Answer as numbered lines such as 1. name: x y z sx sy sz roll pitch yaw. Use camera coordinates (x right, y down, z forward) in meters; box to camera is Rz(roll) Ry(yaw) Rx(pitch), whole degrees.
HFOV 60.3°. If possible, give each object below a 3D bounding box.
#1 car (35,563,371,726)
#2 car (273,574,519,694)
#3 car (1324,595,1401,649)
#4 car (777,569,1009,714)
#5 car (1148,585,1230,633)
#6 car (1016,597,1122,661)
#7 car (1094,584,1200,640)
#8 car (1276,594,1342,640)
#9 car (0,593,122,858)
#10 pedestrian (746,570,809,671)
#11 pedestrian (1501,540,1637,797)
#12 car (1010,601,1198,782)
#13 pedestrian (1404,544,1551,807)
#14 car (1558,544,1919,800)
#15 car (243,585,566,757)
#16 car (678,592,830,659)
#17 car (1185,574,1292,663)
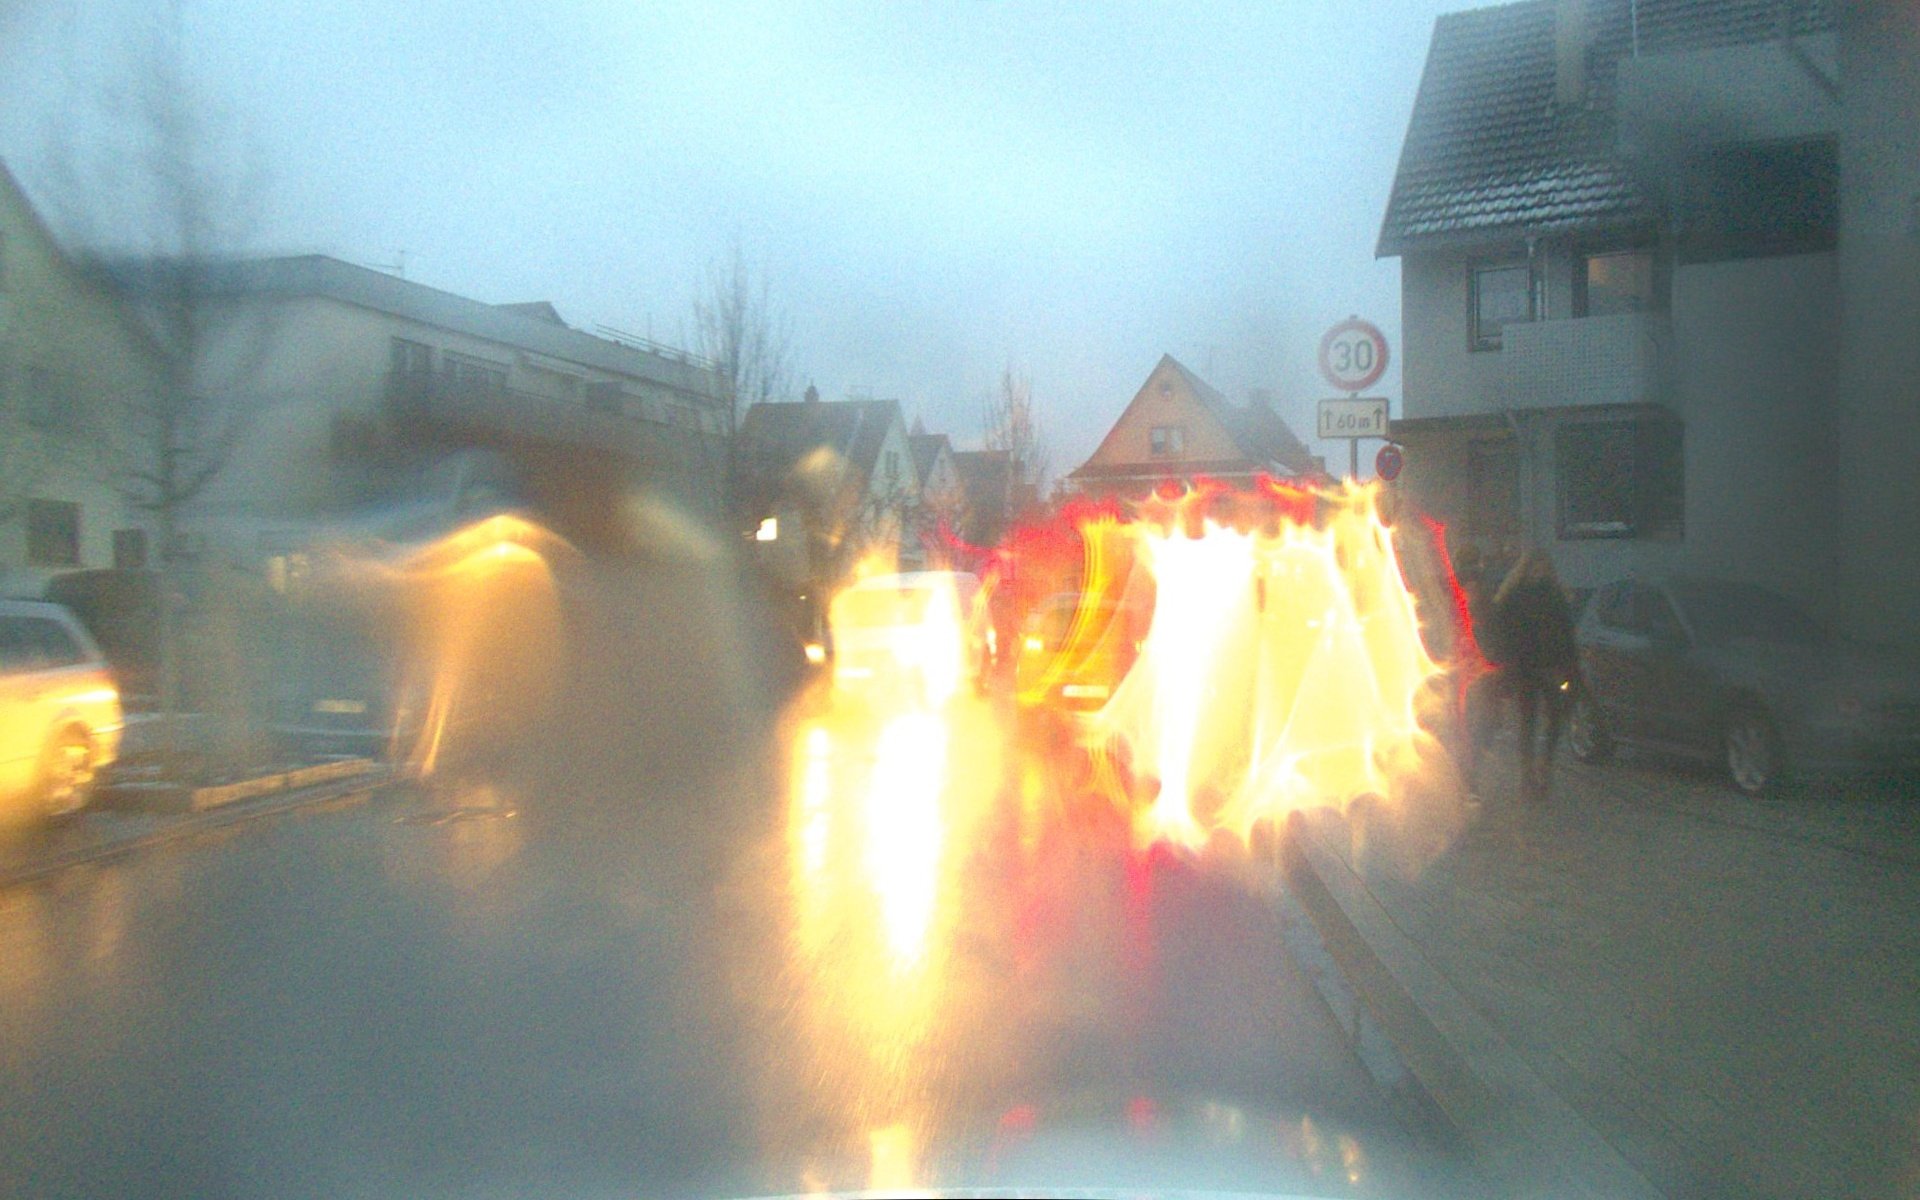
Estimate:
1. car: -10.274 0.593 22.227 5.298 1.918 2.063 -2 0 41
2. car: -9.666 0.576 28.396 3.633 1.937 1.761 -1 0 18
3. car: 11.553 0.609 47.369 1.615 1.467 3.866 -1 0 21
4. car: -0.810 0.518 23.680 1.904 1.781 4.855 -3 0 15
5. car: 7.815 0.262 56.100 1.637 1.542 3.997 1 1 25
6. car: 2.894 0.709 43.083 1.658 1.543 3.772 1 1 22
7. car: 5.522 0.323 48.346 1.714 1.542 4.338 1 1 26
8. car: 11.758 0.560 55.589 1.503 1.482 3.702 -1 0 23
9. car: -6.615 0.766 9.151 1.866 1.560 4.255 -1 1 -2
10. pedestrian: -3.522 0.390 31.937 0.739 1.899 1.060 -1 0 25
11. pedestrian: 4.201 0.456 11.451 0.568 1.698 0.791 -2 0 -4
12. car: 1.793 0.975 19.845 1.951 1.827 4.652 -1 1 7
13. pedestrian: 3.559 0.501 11.438 0.699 1.729 0.804 -2 0 -3
14. car: 6.082 0.425 12.323 1.699 1.588 3.661 -2 0 -4
15. car: -5.487 0.635 16.851 1.794 1.562 3.678 0 0 5
16. car: -5.103 0.649 40.717 1.725 1.503 4.026 -2 0 -41
17. car: 5.749 0.351 33.783 1.759 1.691 4.003 0 0 16
